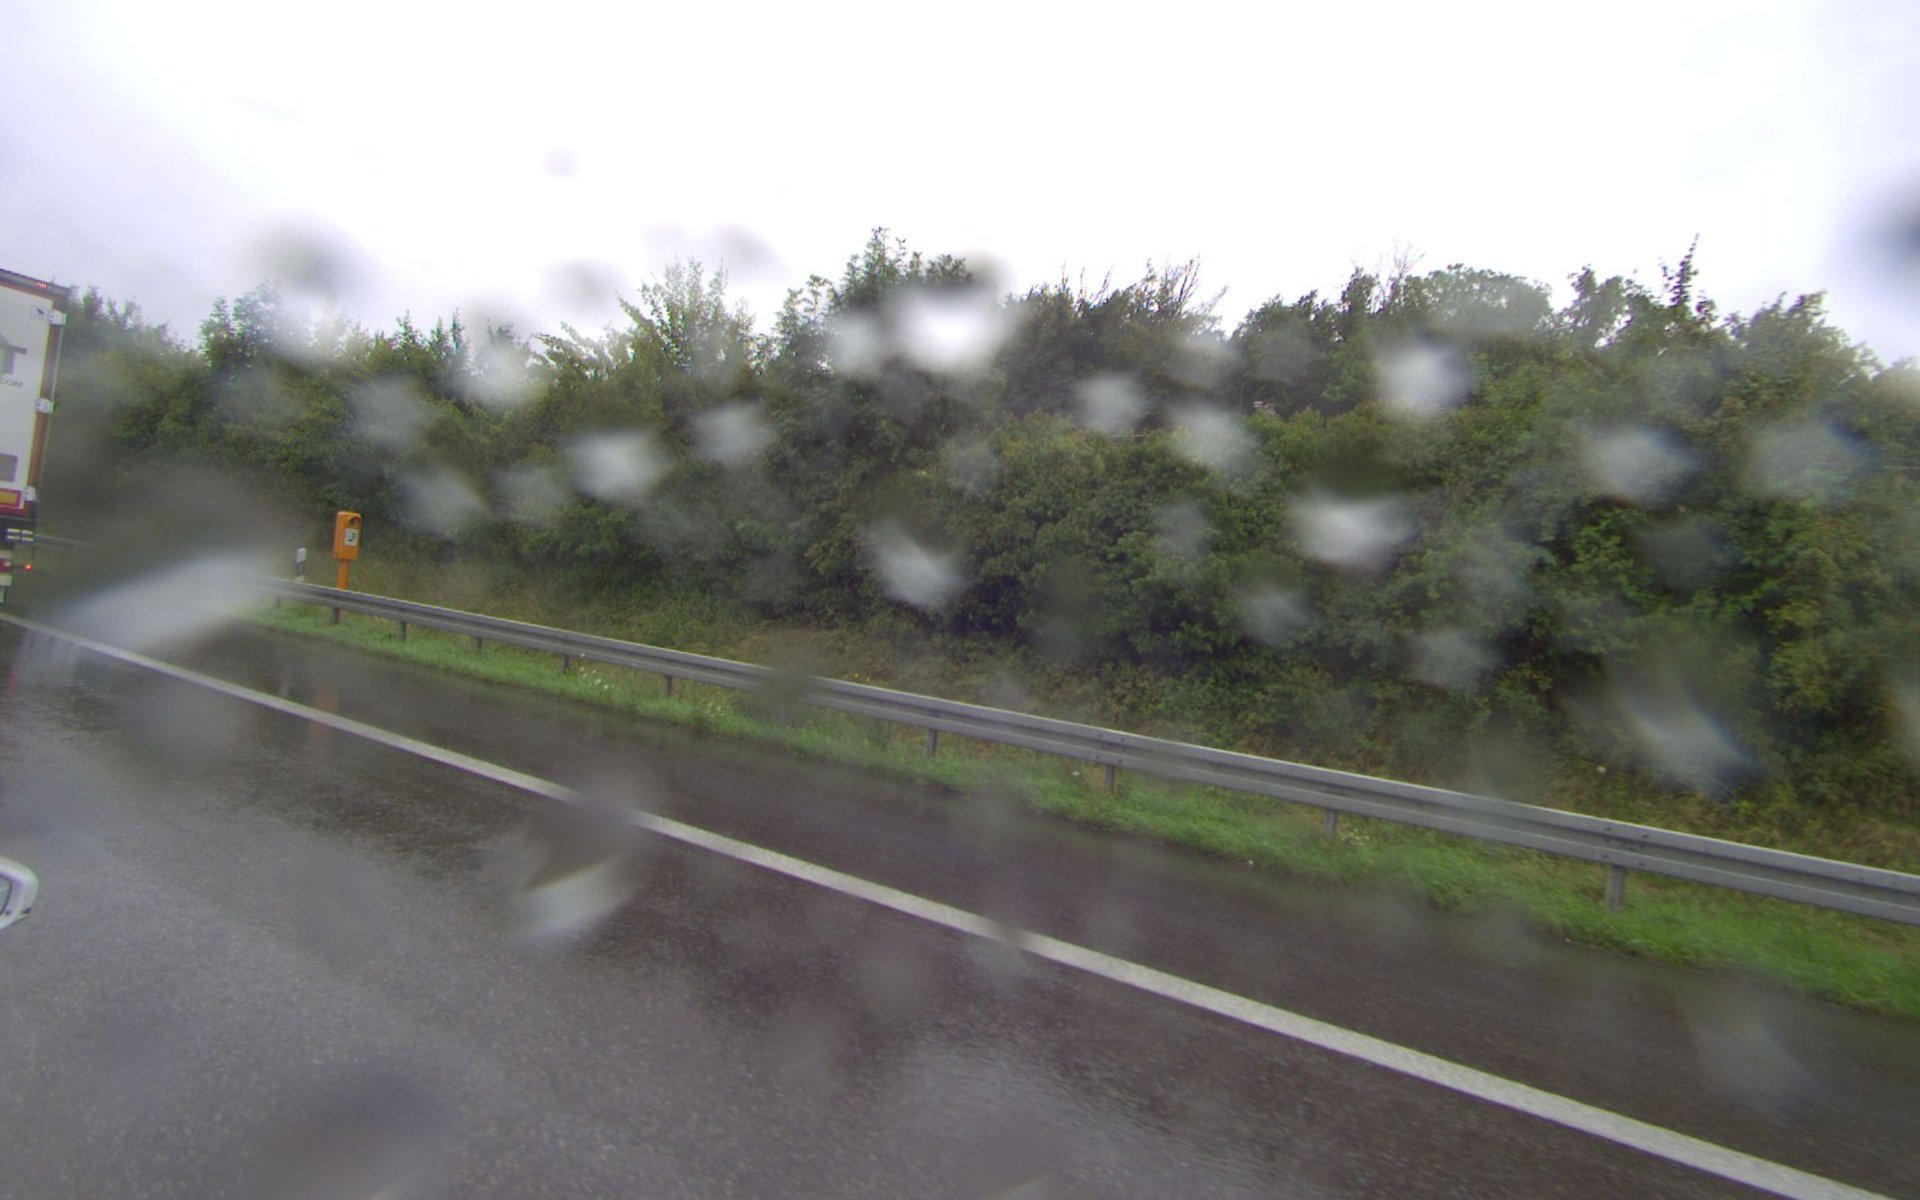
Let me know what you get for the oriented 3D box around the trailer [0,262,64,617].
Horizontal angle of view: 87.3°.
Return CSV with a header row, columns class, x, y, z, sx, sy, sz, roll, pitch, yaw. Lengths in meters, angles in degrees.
class,x,y,z,sx,sy,sz,roll,pitch,yaw
trailer,-17.707,-2.674,14.669,14.385,4.061,2.634,7,0,32
